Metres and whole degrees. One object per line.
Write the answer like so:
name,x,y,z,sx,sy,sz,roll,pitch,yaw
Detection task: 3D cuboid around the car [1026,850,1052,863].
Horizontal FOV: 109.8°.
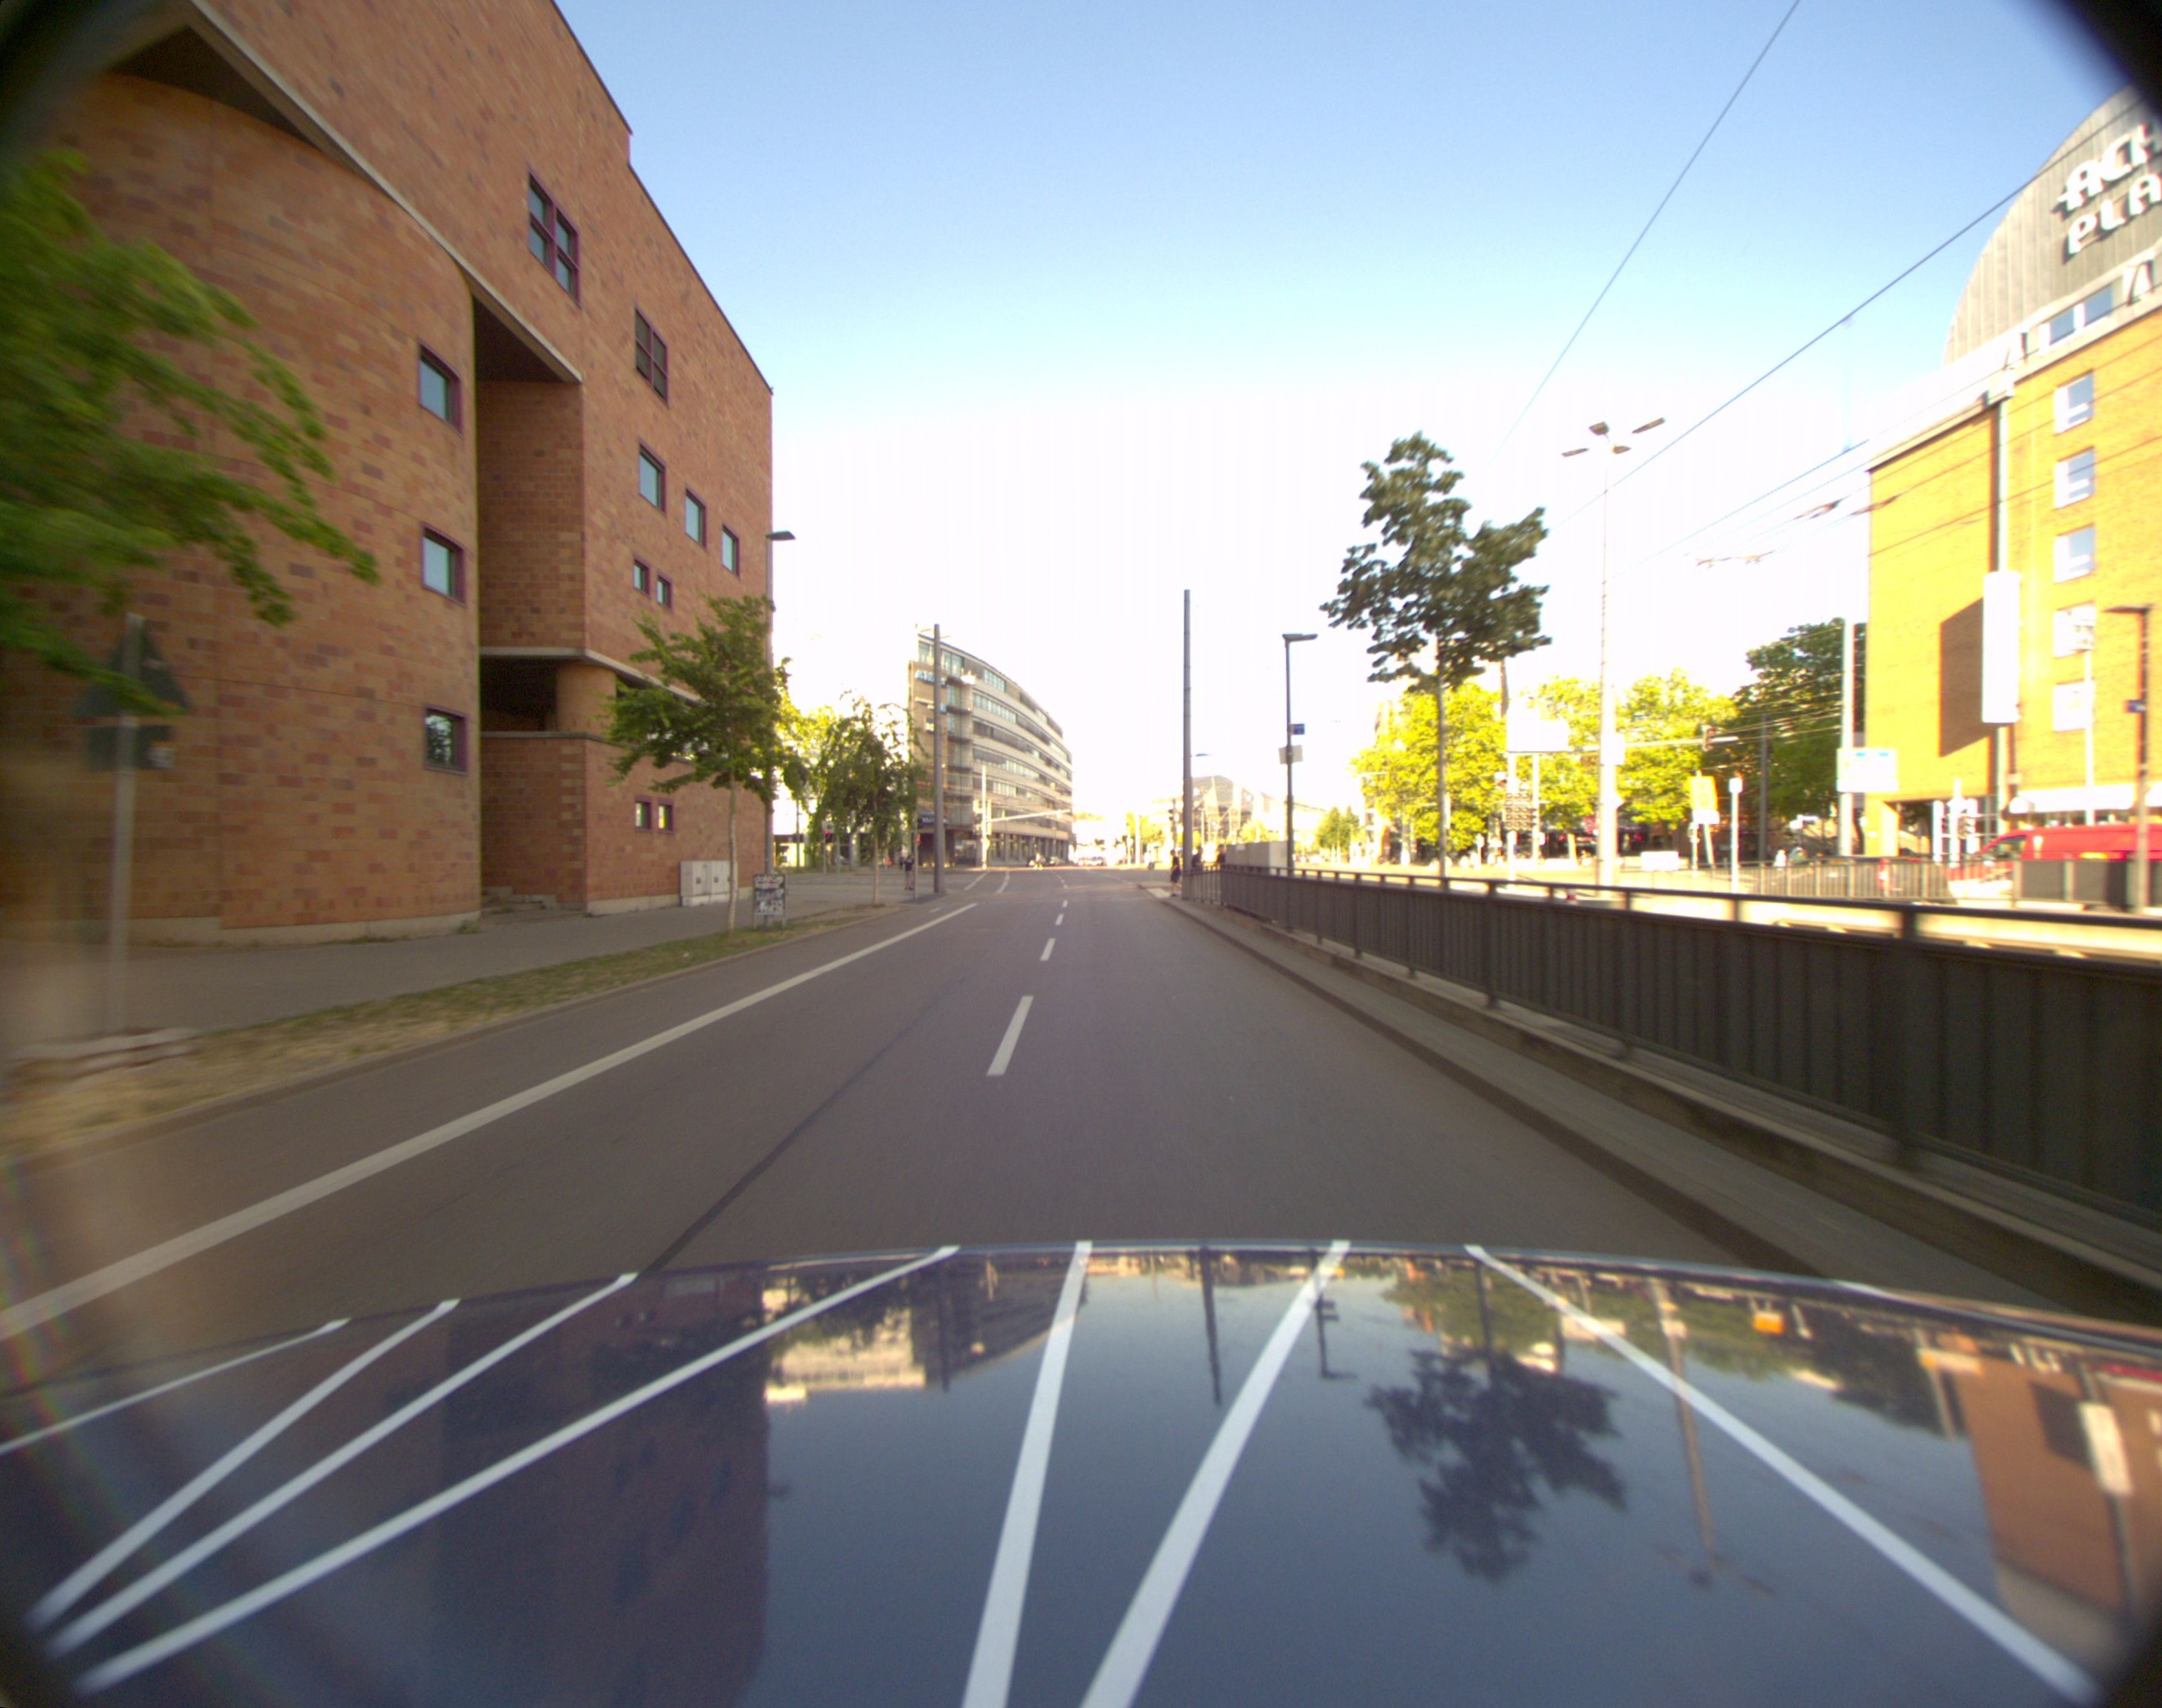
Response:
car,-5.313,0.336,96.328,1.901,1.611,4.177,0,-1,17

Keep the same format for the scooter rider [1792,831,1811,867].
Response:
scooter rider,34.959,-0.239,36.852,0.569,1.744,0.535,0,1,33

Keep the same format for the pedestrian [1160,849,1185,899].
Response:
pedestrian,3.184,0.677,26.446,0.625,1.692,0.748,0,1,-19

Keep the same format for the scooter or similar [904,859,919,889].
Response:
scooter or similar,-7.771,0.905,34.900,0.529,1.310,1.132,0,1,-6

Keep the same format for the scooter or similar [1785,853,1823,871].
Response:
scooter or similar,35.018,0.390,36.809,1.235,0.826,0.546,0,1,32

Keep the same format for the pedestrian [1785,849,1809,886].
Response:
pedestrian,32.911,0.613,34.937,0.640,1.708,0.779,0,1,30

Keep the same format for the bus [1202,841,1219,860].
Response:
bus,23.835,-0.522,140.171,2.723,3.388,9.675,0,-1,8

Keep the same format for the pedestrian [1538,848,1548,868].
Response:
pedestrian,42.191,0.354,69.319,0.671,1.786,0.571,1,1,42

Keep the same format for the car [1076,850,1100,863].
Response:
car,0.953,0.351,98.338,1.901,1.611,4.530,0,-1,17

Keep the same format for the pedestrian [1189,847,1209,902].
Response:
pedestrian,3.305,0.570,21.301,0.490,1.530,0.552,0,1,16

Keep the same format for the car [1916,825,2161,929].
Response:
car,24.586,0.479,18.786,2.084,2.276,5.264,0,1,0

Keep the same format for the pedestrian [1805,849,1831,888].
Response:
pedestrian,32.858,0.623,33.892,0.640,1.708,0.779,0,1,30

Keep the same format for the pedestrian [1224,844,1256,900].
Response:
pedestrian,4.918,0.537,23.481,0.642,1.708,0.776,-1,1,-22

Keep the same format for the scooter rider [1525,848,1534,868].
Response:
scooter rider,40.928,0.329,69.356,0.587,1.822,0.765,1,1,42

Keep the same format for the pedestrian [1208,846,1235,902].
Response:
pedestrian,3.952,0.533,21.269,0.714,1.530,0.852,0,1,12

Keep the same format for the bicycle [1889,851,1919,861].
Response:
bicycle,84.530,0.204,78.066,2.009,1.061,0.697,0,1,38

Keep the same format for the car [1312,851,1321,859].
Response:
car,48.956,0.155,157.990,1.861,1.622,4.269,0,0,17

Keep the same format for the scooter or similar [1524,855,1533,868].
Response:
scooter or similar,40.850,0.647,69.317,0.454,1.172,1.162,1,1,44

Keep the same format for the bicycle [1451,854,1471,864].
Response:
bicycle,40.887,0.528,81.781,1.841,1.123,0.776,0,1,7

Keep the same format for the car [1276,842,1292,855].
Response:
car,40.699,-1.032,152.274,1.995,2.465,5.985,0,-1,24

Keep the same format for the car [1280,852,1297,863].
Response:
car,27.456,0.443,100.549,1.690,1.419,4.002,0,0,7

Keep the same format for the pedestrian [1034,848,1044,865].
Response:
pedestrian,-4.597,0.274,83.333,0.965,1.832,0.699,0,1,7

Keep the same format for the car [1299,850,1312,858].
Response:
car,47.733,0.084,161.736,1.860,1.622,4.271,0,0,28

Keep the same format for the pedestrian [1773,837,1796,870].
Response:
pedestrian,40.485,-0.011,43.719,0.744,1.884,0.649,0,1,18

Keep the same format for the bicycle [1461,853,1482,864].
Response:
bicycle,40.596,0.498,78.965,1.841,1.123,0.776,0,1,7

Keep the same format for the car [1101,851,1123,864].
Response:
car,4.197,0.477,102.722,1.901,1.611,4.177,0,-1,17

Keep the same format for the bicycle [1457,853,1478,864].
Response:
bicycle,40.629,0.508,79.900,1.841,1.123,0.776,0,1,7

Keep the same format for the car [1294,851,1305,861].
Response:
car,47.673,0.464,165.935,1.608,2.002,3.893,0,1,27

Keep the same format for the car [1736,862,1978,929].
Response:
car,18.335,0.913,18.266,1.761,1.439,4.000,0,-1,0

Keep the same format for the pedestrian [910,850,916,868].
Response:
pedestrian,-17.021,0.482,76.867,0.547,1.813,0.374,0,1,-11

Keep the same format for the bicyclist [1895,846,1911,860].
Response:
bicyclist,84.473,-0.107,78.088,0.956,1.337,0.676,1,1,38

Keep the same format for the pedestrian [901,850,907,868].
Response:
pedestrian,-17.847,0.482,76.728,0.589,1.813,0.544,0,1,-11

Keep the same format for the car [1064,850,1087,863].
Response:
car,-0.655,0.284,94.186,1.901,1.611,3.871,0,-1,17

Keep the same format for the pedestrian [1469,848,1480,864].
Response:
pedestrian,42.306,0.215,81.634,0.891,1.754,0.732,0,0,17

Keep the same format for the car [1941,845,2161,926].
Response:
car,21.206,0.609,15.912,1.891,1.523,4.000,0,-1,0

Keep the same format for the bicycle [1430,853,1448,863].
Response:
bicycle,39.191,0.431,83.270,1.696,1.030,0.549,0,1,11

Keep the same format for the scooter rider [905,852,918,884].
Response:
scooter rider,-7.783,0.637,34.950,0.507,1.452,0.721,0,1,-7

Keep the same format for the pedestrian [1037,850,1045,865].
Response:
pedestrian,-4.442,0.352,84.063,0.845,1.678,0.648,0,1,5
